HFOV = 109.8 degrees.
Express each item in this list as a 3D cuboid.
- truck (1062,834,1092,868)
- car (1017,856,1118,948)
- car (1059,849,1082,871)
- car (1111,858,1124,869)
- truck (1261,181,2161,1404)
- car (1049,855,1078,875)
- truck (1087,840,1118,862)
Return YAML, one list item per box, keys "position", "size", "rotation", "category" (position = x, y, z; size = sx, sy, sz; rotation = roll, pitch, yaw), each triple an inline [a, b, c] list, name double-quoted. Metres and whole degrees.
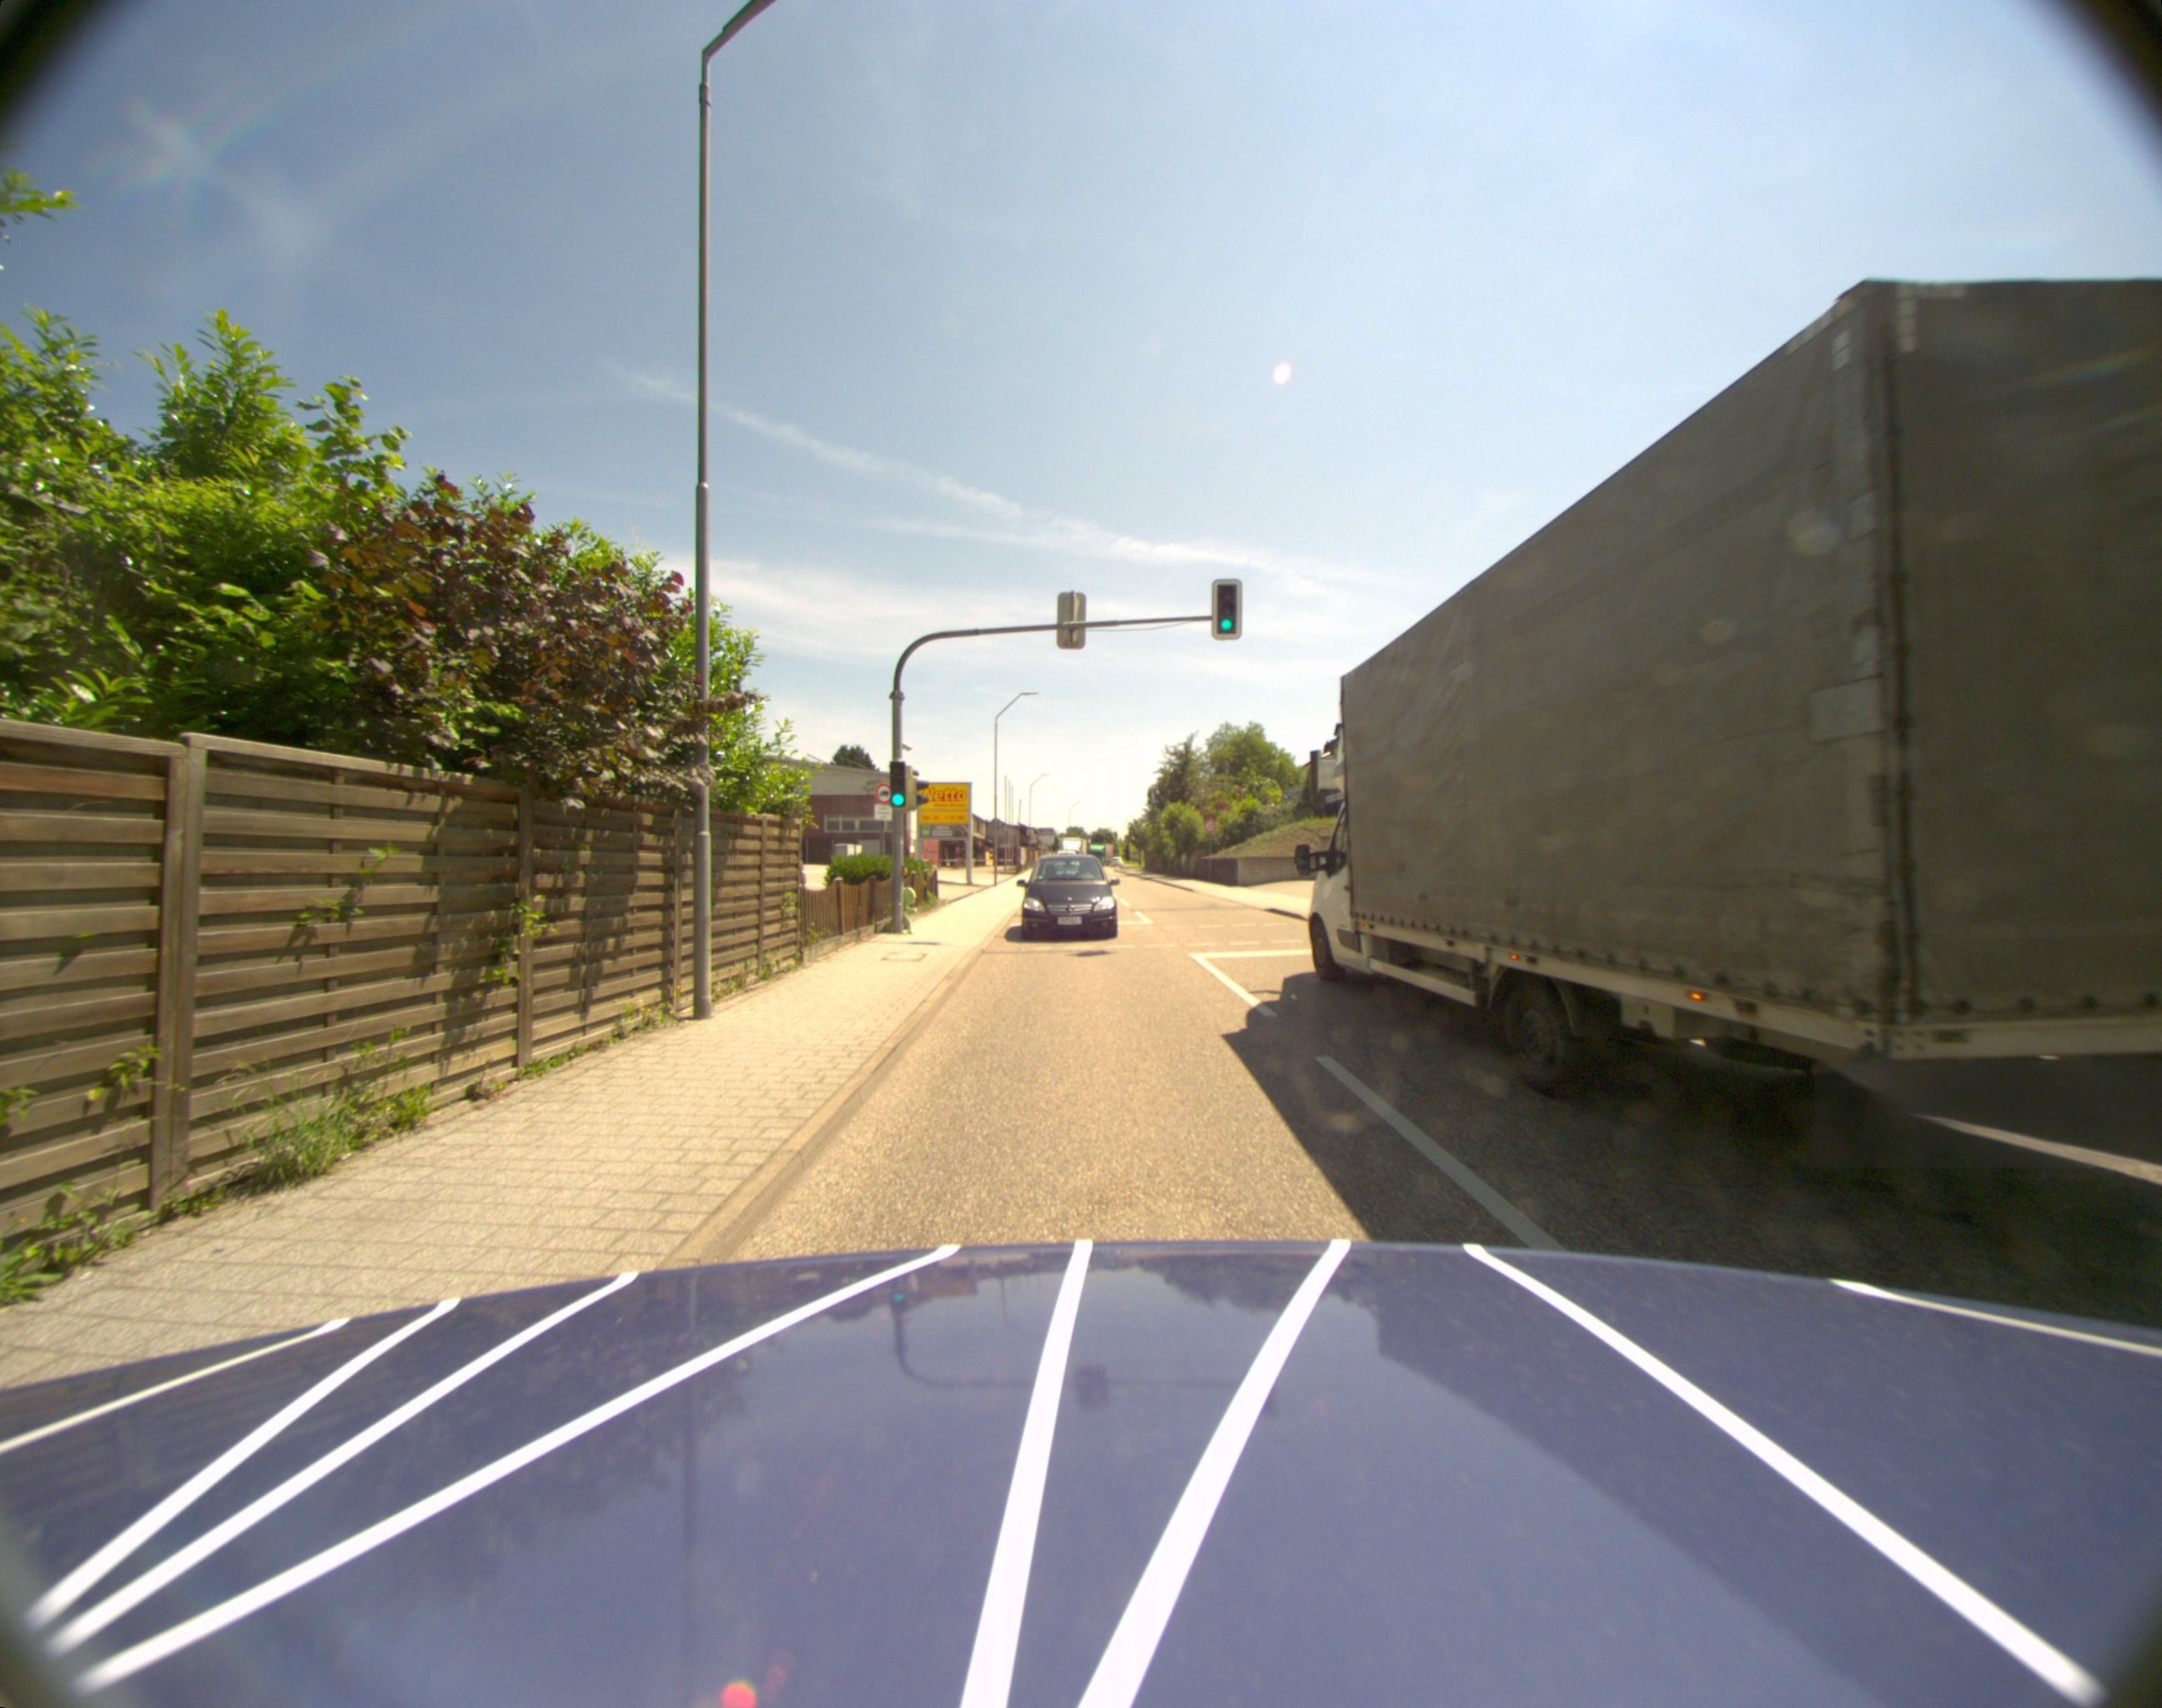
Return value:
- position: [-0.427, -0.323, 89.406]
  size: [3.203, 3.578, 8.307]
  rotation: [3, 0, 1]
  category: "truck"
- position: [-0.257, 0.858, 15.575]
  size: [1.764, 1.583, 4.198]
  rotation: [-1, 0, -1]
  category: "car"
- position: [-0.901, 0.512, 67.829]
  size: [1.867, 1.897, 5.037]
  rotation: [-2, 0, 1]
  category: "car"
- position: [5.263, 1.310, 109.872]
  size: [1.826, 1.516, 3.558]
  rotation: [-1, 0, 3]
  category: "car"
- position: [3.609, -0.200, 5.909]
  size: [2.473, 3.347, 7.616]
  rotation: [-3, 0, 0]
  category: "truck"
- position: [-1.300, 0.769, 55.479]
  size: [1.897, 1.368, 3.999]
  rotation: [-1, 0, -4]
  category: "car"
- position: [3.394, -0.419, 117.053]
  size: [2.849, 3.214, 8.174]
  rotation: [3, 0, 14]
  category: "truck"
